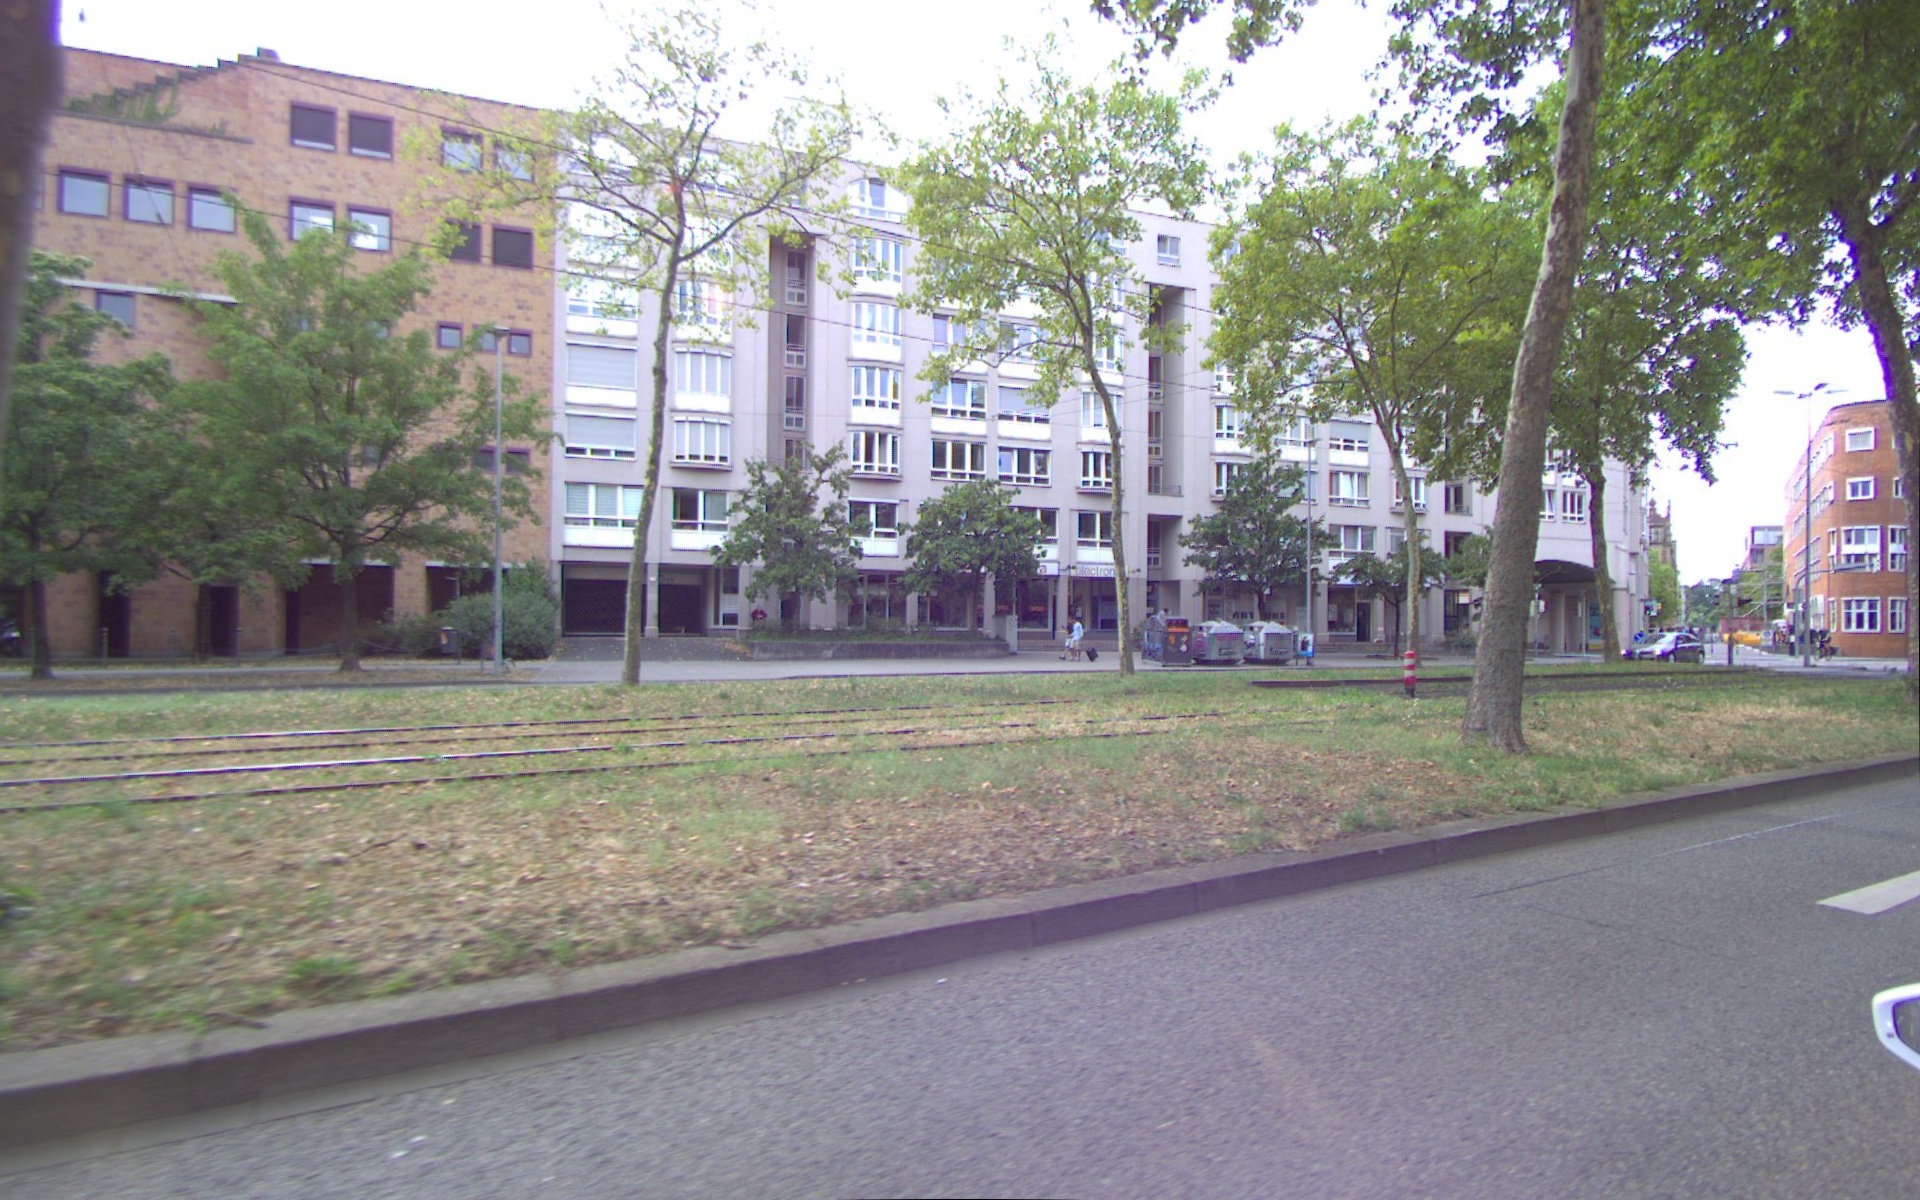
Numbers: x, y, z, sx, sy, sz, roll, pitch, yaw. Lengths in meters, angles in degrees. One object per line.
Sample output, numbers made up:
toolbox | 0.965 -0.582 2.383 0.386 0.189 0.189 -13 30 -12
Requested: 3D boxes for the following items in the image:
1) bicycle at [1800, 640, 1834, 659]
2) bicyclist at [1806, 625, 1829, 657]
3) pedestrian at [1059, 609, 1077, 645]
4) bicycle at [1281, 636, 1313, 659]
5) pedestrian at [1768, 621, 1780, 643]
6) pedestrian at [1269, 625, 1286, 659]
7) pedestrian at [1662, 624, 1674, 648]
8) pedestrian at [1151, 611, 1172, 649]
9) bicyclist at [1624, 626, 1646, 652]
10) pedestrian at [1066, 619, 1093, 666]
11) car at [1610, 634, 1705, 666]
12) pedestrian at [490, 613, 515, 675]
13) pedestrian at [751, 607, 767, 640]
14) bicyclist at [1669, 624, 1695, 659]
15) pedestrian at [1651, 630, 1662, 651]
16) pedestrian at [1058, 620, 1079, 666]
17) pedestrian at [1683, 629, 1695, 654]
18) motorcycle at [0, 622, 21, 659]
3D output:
bicycle | 50.171 2.891 58.803 2.180 1.107 0.675 1 -2 -27
bicyclist | 50.242 2.395 58.847 1.067 1.872 0.664 1 -2 -27
pedestrian | 5.148 1.293 47.895 0.650 1.694 0.635 1 -1 -22
bicycle | 14.879 2.092 44.353 0.433 0.956 1.626 1 -1 -18
pedestrian | 68.689 2.718 84.756 0.682 1.841 0.654 0 -1 33
pedestrian | 14.375 1.892 45.484 0.525 1.550 0.513 1 -1 -18
pedestrian | 51.826 2.630 73.492 0.664 1.702 0.751 0 -1 32
pedestrian | 9.606 1.435 47.933 0.682 1.833 0.768 1 -1 -21
bicyclist | 41.819 2.402 62.207 1.014 1.583 0.582 0 -2 23
pedestrian | 4.517 1.602 38.012 0.873 1.727 0.550 1 -1 -27
car | 29.566 2.098 42.552 4.484 1.261 1.720 1 -2 -32
pedestrian | -12.990 1.237 28.522 0.618 1.727 0.550 1 -1 -27
pedestrian | -8.123 0.943 40.590 0.546 1.340 0.457 1 -1 -20
bicyclist | 36.011 2.059 50.091 0.939 1.695 0.688 1 -1 -22
pedestrian | 69.788 4.068 100.655 0.851 2.040 1.340 0 -1 35
pedestrian | 4.157 1.630 38.428 0.618 1.727 0.550 1 -1 -27
pedestrian | 60.379 3.429 83.221 0.779 1.989 0.803 0 -1 35
motorcycle | -32.108 1.340 33.481 2.162 1.207 0.794 -1 -2 37
